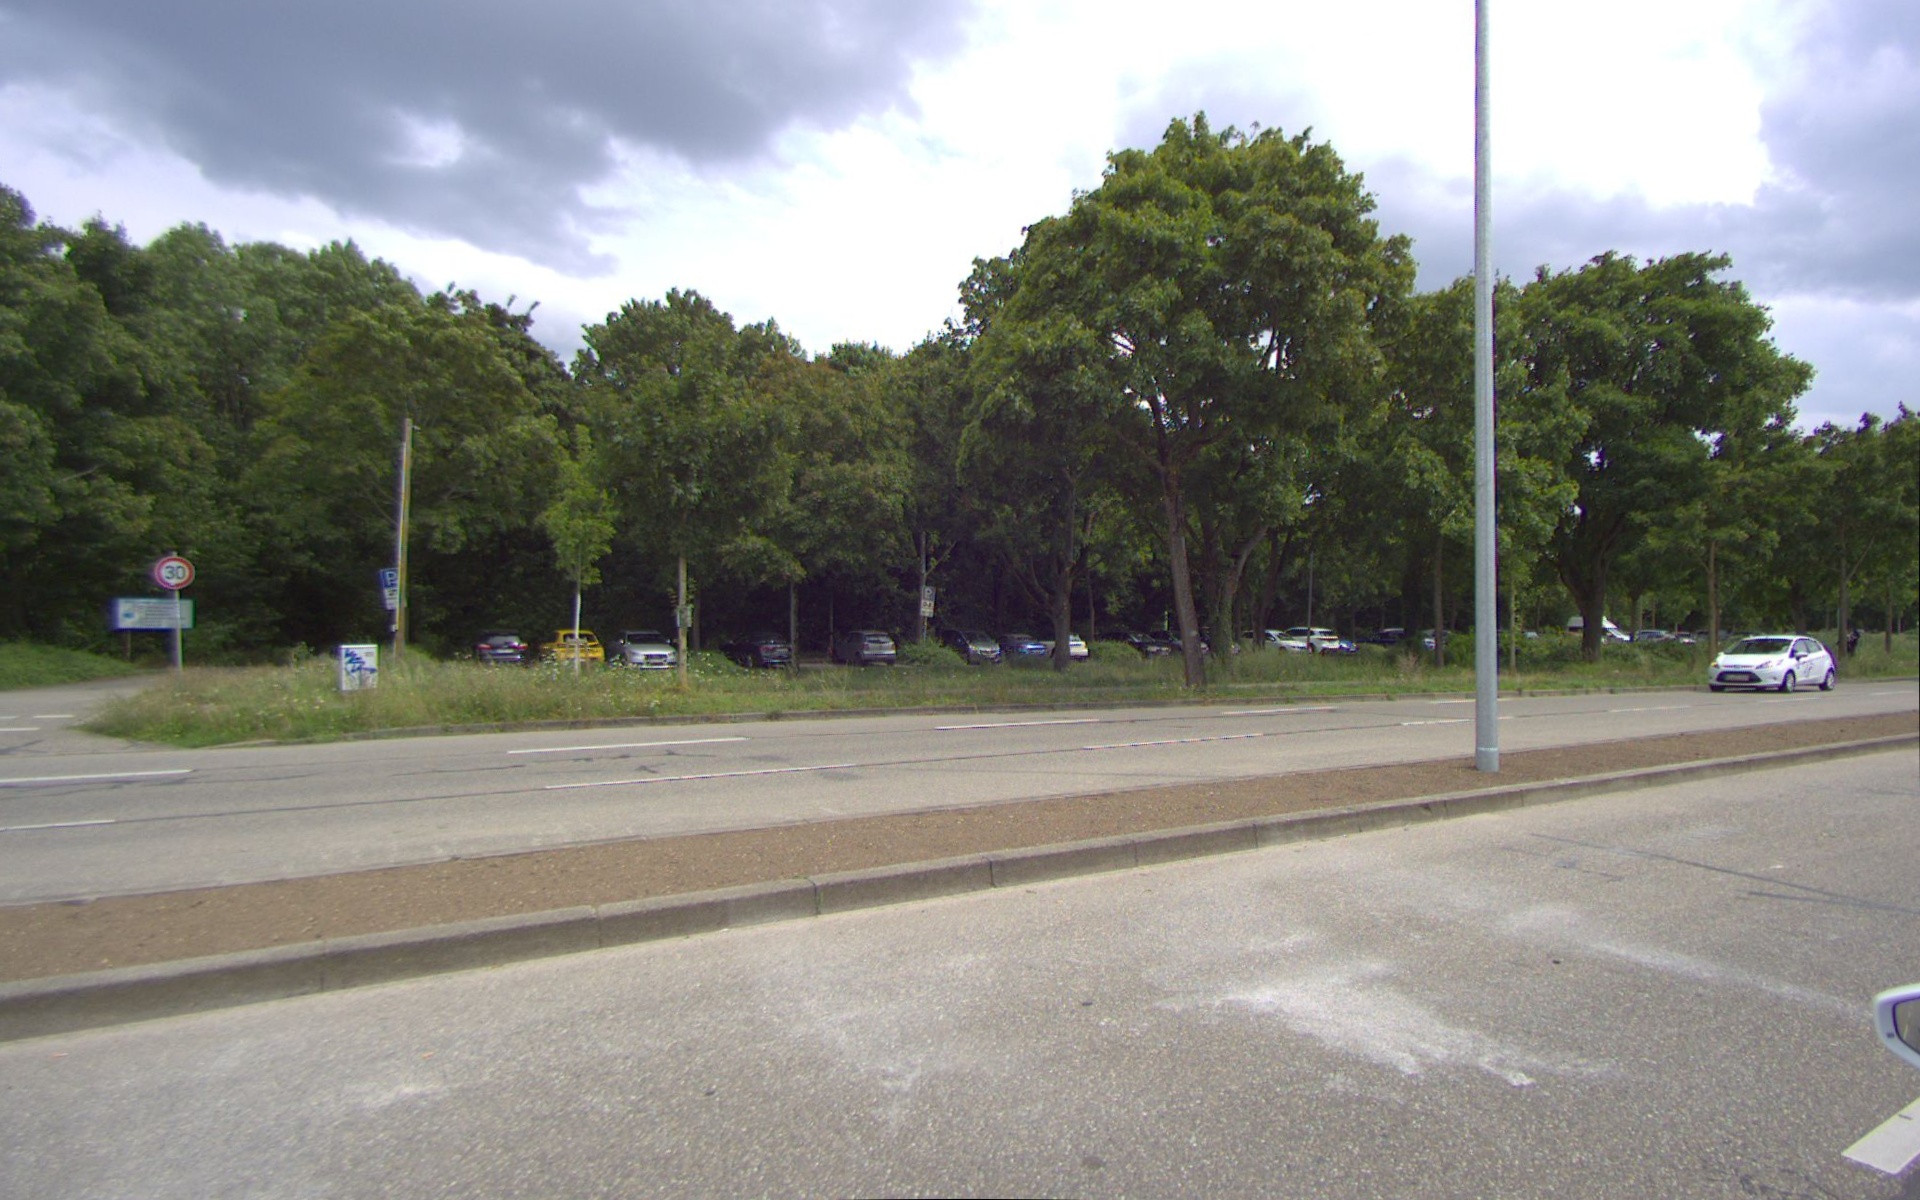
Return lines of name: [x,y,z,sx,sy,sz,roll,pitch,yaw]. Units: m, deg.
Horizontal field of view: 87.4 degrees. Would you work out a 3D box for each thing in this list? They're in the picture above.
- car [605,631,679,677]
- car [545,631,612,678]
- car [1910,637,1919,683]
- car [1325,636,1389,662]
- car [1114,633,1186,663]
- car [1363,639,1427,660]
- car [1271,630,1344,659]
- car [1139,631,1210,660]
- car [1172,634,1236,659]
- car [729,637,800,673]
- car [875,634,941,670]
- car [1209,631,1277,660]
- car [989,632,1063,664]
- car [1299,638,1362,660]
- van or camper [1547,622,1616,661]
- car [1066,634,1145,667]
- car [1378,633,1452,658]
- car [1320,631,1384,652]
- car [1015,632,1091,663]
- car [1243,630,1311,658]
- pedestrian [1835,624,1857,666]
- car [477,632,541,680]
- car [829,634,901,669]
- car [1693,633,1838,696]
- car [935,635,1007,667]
car: [-11.712,1.926,36.841,1.862,1.518,4.164,1,-1,-28]
car: [-13.755,1.909,36.116,1.763,1.518,3.971,1,-1,-28]
car: [33.423,1.981,33.396,3.954,1.496,1.695,1,-2,-31]
car: [23.486,2.859,59.504,1.305,1.430,3.536,1,-1,-27]
car: [9.525,2.384,50.522,1.686,1.378,3.632,1,-1,-27]
car: [25.996,2.951,60.128,1.423,1.108,3.353,1,-1,-28]
car: [19.649,2.477,56.896,1.859,1.539,3.635,1,-1,-27]
car: [11.000,2.327,51.795,1.686,1.378,3.632,1,-1,-27]
car: [12.753,2.431,52.652,1.498,1.222,3.282,1,-1,-27]
car: [-7.717,2.129,39.434,1.763,1.274,3.694,1,-1,-28]
car: [-2.285,2.197,43.375,1.498,1.430,3.635,1,-1,-27]
car: [15.256,2.424,54.315,1.498,1.430,3.635,1,-1,-27]
car: [3.047,2.215,47.096,1.646,1.378,3.972,1,-1,-27]
car: [21.511,2.828,58.436,1.423,1.127,3.353,1,-1,-28]
van or camper: [46.334,3.038,74.975,1.904,2.793,3.968,1,-1,-30]
car: [7.060,2.420,49.004,1.973,1.429,3.975,1,-1,-25]
car: [27.882,2.781,61.684,1.976,1.428,3.714,1,-1,-29]
car: [22.766,2.415,58.449,1.423,1.144,3.353,1,-1,-28]
car: [4.440,2.236,48.264,1.799,1.378,3.972,1,-1,-27]
car: [17.482,2.413,55.483,1.498,1.430,3.635,1,-1,-27]
pedestrian: [39.567,2.013,44.844,0.682,1.863,0.649,0,-1,38]
car: [-15.668,1.882,34.797,1.763,1.518,3.971,1,-1,-28]
car: [-4.052,2.142,42.409,1.763,1.366,3.694,1,-1,-28]
car: [20.938,1.623,26.071,3.954,1.496,1.682,1,-2,-31]
car: [0.441,2.256,45.047,1.645,1.254,3.973,1,-1,-27]
